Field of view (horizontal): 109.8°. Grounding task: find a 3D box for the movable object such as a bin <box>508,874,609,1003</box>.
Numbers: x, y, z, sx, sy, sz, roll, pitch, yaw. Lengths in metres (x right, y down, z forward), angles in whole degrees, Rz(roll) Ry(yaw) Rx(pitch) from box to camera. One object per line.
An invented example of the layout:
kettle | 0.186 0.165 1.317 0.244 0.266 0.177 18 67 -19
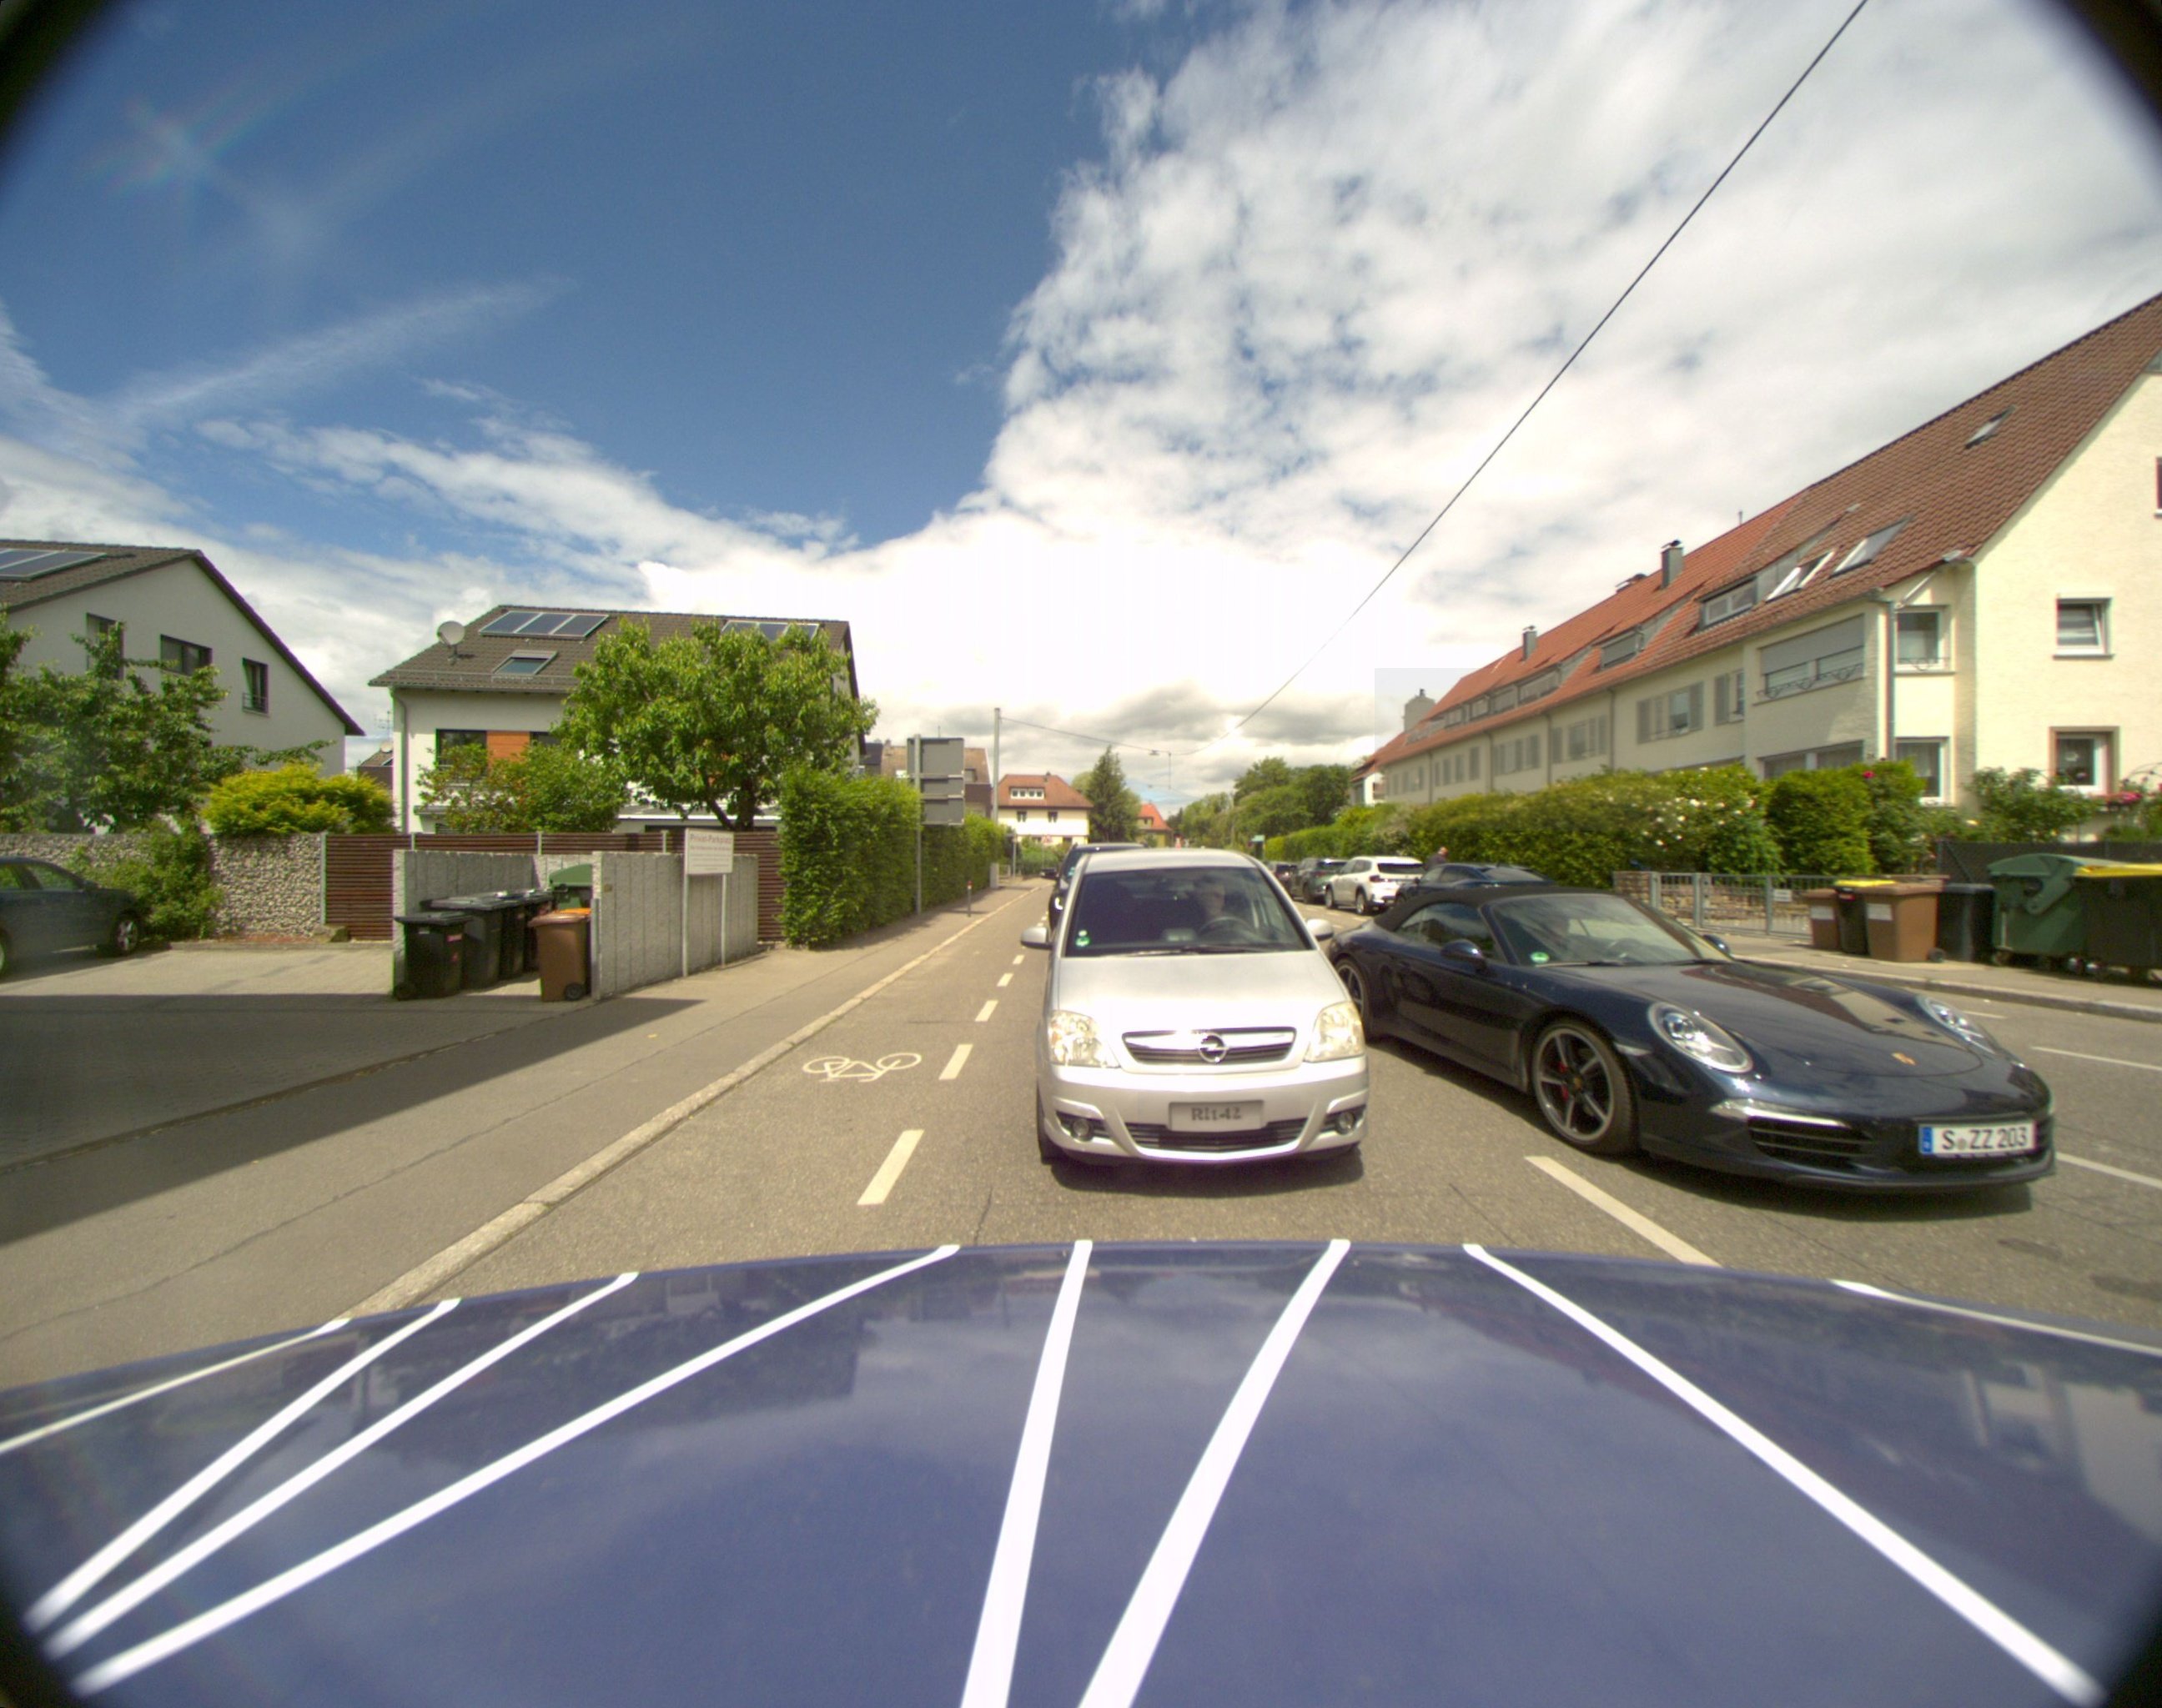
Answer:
movable object such as a bin | -6.111 0.971 8.907 0.809 1.446 0.479 -1 1 -4

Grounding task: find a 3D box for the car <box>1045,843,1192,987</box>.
car | 0.429 0.788 12.460 1.887 1.838 5.220 -1 0 -1

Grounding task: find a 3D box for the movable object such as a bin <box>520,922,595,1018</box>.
movable object such as a bin | -5.539 1.212 8.060 0.519 0.916 0.478 -1 1 -18

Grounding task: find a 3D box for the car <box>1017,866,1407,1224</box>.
car | 0.621 0.914 5.509 1.774 1.566 4.001 -1 0 0

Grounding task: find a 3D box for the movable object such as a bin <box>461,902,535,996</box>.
movable object such as a bin | -7.137 1.146 9.320 0.596 1.069 0.488 -1 1 -24

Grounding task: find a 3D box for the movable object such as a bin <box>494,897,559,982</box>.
movable object such as a bin | -7.504 1.141 10.298 0.596 1.069 0.488 -1 1 -24

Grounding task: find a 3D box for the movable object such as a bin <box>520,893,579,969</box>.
movable object such as a bin | -8.030 1.148 11.499 0.596 1.069 0.488 -1 1 -19

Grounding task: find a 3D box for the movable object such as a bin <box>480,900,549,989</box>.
movable object such as a bin | -7.302 1.149 9.808 0.596 1.069 0.488 -1 1 -24
